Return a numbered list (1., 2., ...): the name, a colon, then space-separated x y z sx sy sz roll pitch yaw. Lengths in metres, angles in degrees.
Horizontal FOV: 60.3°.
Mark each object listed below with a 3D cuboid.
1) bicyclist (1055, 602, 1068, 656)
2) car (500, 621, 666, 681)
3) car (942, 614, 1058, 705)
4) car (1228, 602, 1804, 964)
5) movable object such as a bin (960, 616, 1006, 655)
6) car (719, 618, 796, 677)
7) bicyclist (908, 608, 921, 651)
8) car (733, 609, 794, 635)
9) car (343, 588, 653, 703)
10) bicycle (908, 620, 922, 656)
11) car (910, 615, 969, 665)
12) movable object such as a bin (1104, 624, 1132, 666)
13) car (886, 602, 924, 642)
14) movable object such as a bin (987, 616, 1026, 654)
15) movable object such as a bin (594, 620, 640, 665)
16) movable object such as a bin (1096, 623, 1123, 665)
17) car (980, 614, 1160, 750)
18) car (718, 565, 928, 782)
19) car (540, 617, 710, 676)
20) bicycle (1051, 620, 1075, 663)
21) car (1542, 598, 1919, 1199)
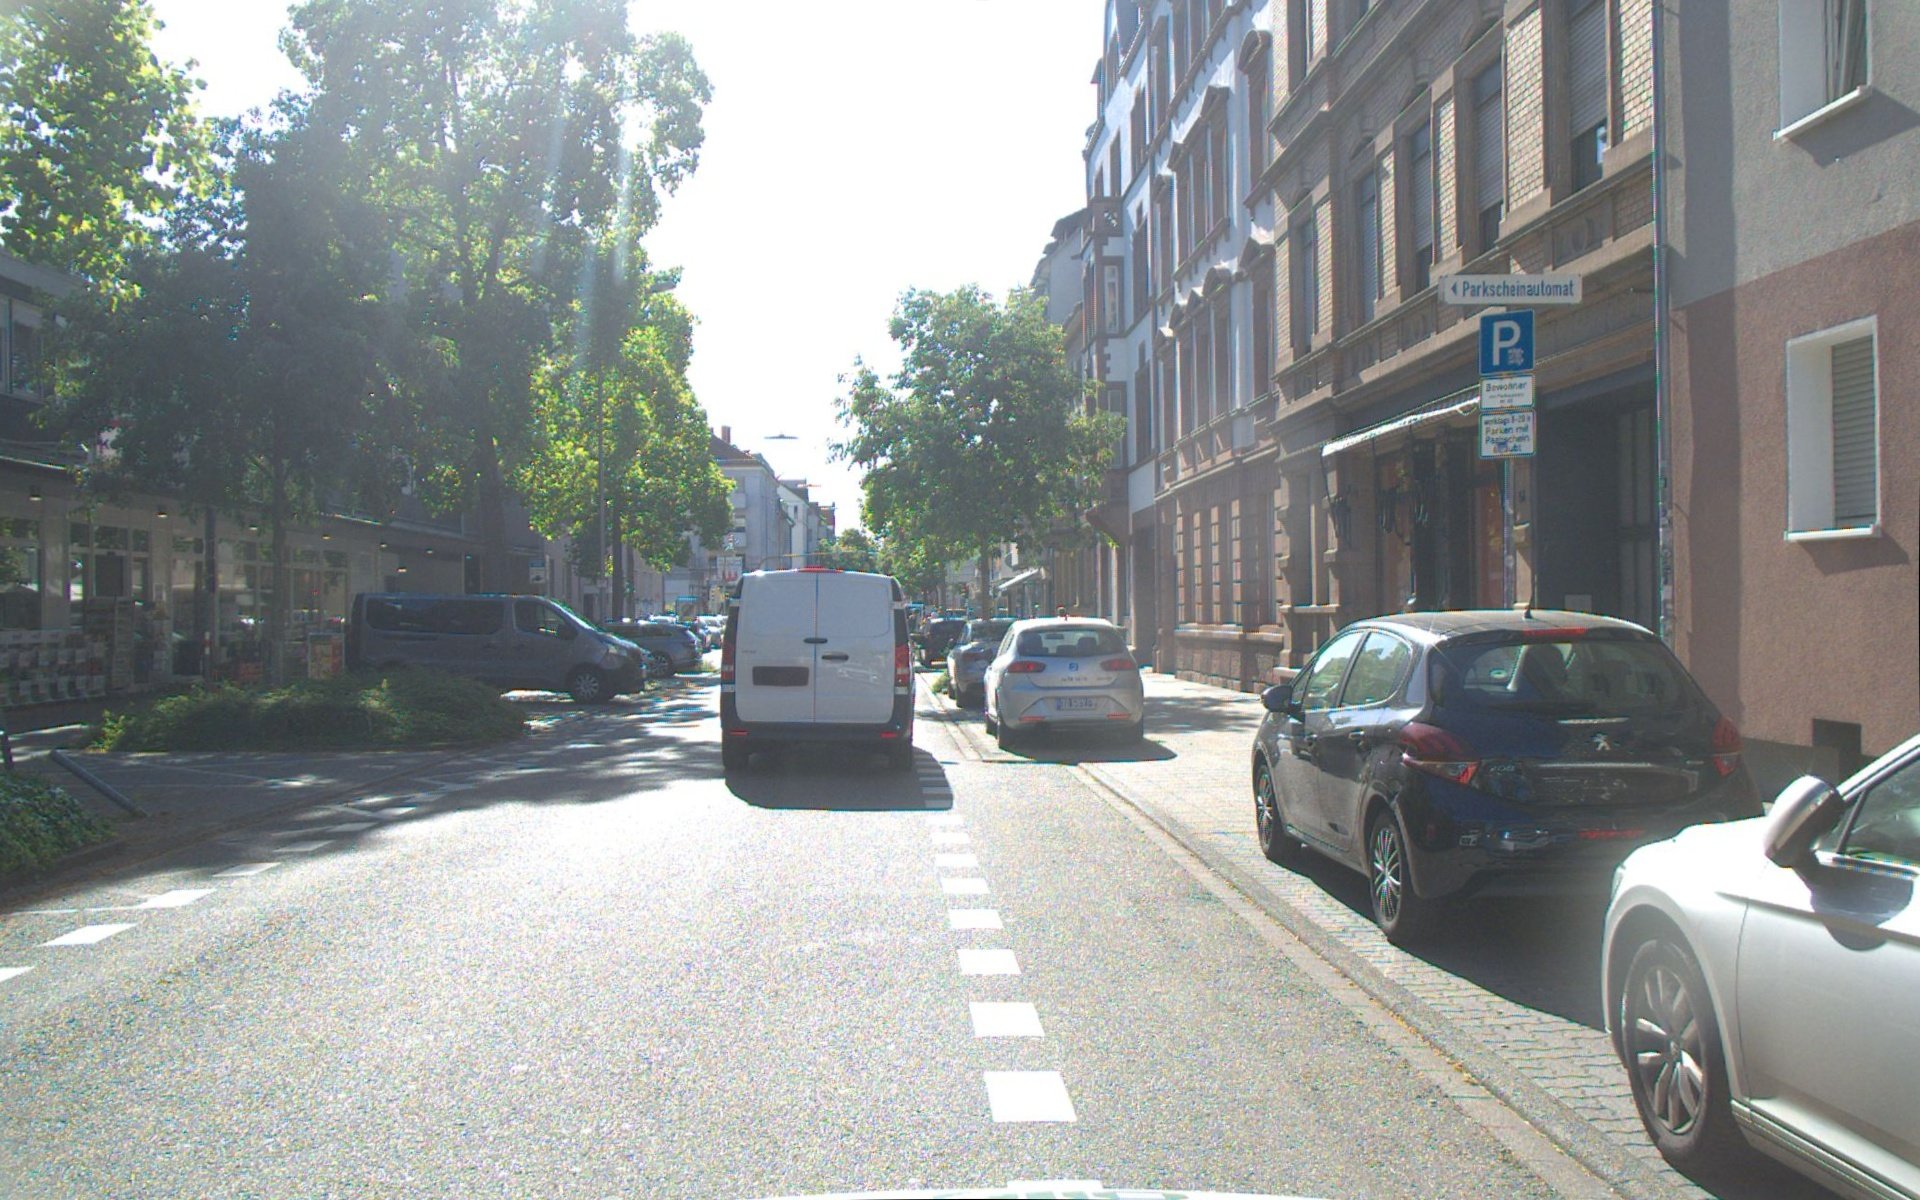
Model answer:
1. bicyclist: 2.873 0.823 46.931 0.353 1.503 0.531 0 -1 2
2. car: -9.560 1.283 42.137 3.910 1.489 1.810 0 -1 -6
3. car: 0.643 1.006 29.551 1.704 1.477 4.304 -1 0 -4
4. car: 2.669 0.786 8.875 1.675 1.506 3.708 -1 -1 -3
5. movable object such as a bin: 0.842 1.300 60.503 1.090 1.371 1.262 -2 -1 45
6. car: -5.450 1.252 44.871 1.727 1.464 3.958 -2 -1 -3
7. bicyclist: -1.657 1.076 60.216 0.430 1.535 0.496 -2 0 -4
8. car: -12.807 1.453 107.977 3.910 1.669 1.997 0 -1 -7
9. car: -8.487 0.833 30.760 5.187 2.009 2.014 1 -1 -4
10. bicycle: -1.641 1.369 60.219 0.465 1.296 1.217 -1 -1 -4
11. car: -0.676 1.243 52.389 1.603 1.501 3.576 -1 0 -5
12. movable object such as a bin: 4.148 1.171 43.498 0.625 1.087 0.639 -1 -1 -3
13. car: -2.869 1.129 86.121 1.780 1.955 4.640 -1 0 -4
14. movable object such as a bin: 1.741 1.292 61.653 1.020 1.371 1.105 -1 0 36
15. movable object such as a bin: -11.511 1.413 55.586 1.204 1.475 1.077 -1 -1 7
16. movable object such as a bin: 4.035 1.183 44.648 0.625 1.087 0.631 -1 -1 -4
17. car: 1.244 0.921 20.360 1.704 1.477 3.997 -1 0 -4
18. car: -1.572 0.671 17.408 1.885 1.947 4.879 1 0 -8
19. car: -9.037 1.247 44.839 4.217 1.486 1.762 1 -1 -1
20. bicycle: 2.926 1.169 46.981 0.525 1.168 2.124 -5 -1 2
21. car: 2.754 0.731 2.954 1.749 1.485 4.515 -2 0 -1
